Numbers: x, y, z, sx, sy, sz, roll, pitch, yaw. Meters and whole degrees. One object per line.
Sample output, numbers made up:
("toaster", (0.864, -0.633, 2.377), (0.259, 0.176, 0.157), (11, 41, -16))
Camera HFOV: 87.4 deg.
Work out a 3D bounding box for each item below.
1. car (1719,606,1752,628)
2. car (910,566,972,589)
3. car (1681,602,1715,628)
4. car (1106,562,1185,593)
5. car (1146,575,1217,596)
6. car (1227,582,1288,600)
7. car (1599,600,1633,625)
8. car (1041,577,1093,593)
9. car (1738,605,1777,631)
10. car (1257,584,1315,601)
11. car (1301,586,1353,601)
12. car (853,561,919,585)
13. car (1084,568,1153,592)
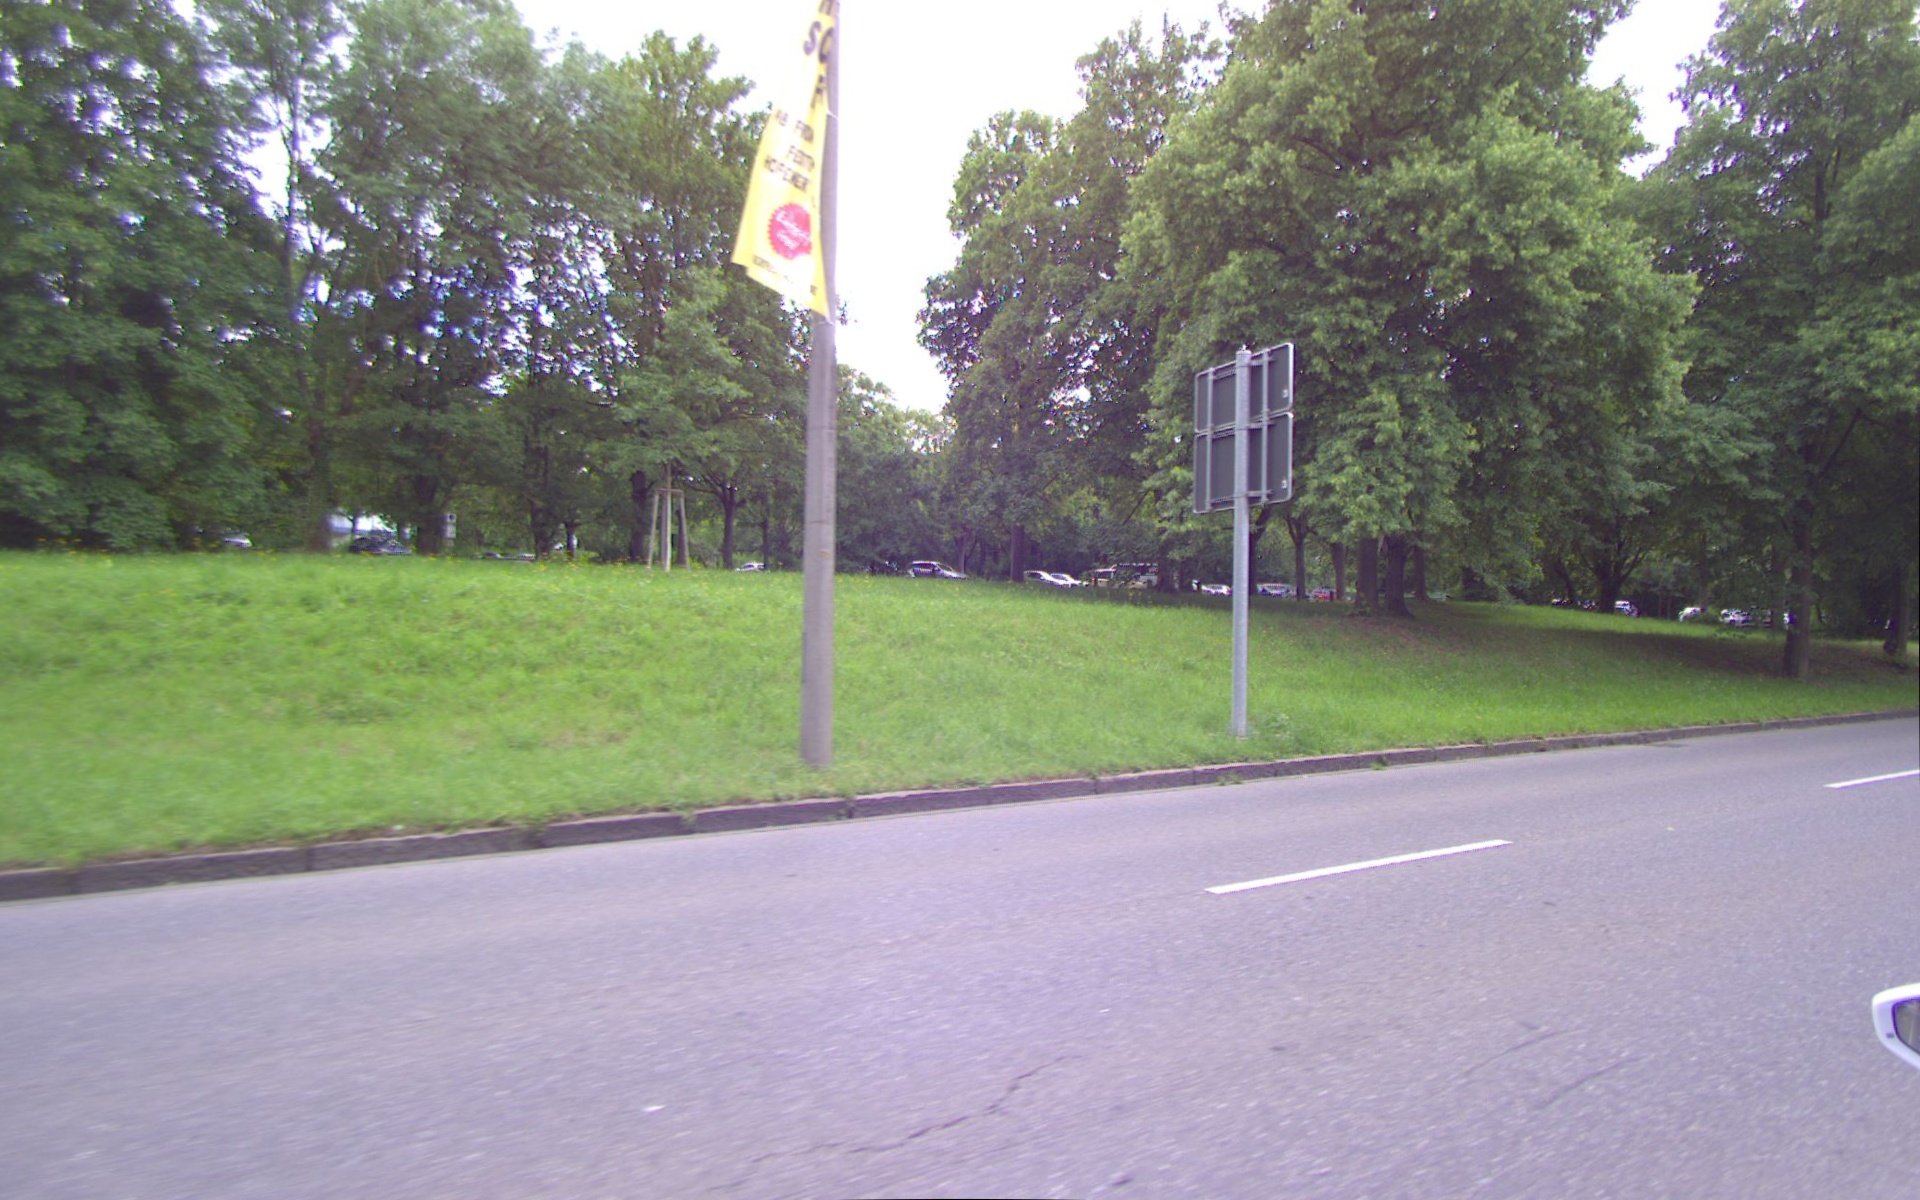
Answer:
("car", (54.346, 1.189, 70.435), (1.624, 1.506, 3.986), (2, 0, 36))
("car", (-1.105, -1.315, 59.248), (3.448, 1.250, 1.396), (2, 0, 32))
("car", (46.767, 0.956, 63.680), (1.624, 1.506, 3.986), (2, 0, 36))
("car", (10.493, -1.284, 56.973), (4.048, 1.706, 1.748), (2, 0, 36))
("car", (13.921, -0.932, 63.055), (3.919, 1.226, 1.897), (2, 0, 35))
("car", (21.976, -0.676, 74.326), (3.919, 1.226, 1.897), (2, 0, 35))
("car", (42.439, 0.835, 64.980), (1.624, 1.506, 3.986), (2, 0, 36))
("car", (8.987, -1.263, 84.459), (3.919, 1.226, 1.897), (2, 0, 35))
("car", (49.071, 1.110, 61.854), (1.624, 1.506, 3.986), (2, 0, 36))
("car", (25.402, -0.569, 78.406), (3.919, 1.226, 1.897), (2, 0, 35))
("car", (32.398, -0.583, 88.712), (3.919, 1.226, 1.897), (2, 0, 35))
("car", (-4.108, -1.477, 55.624), (3.448, 1.250, 1.396), (2, 0, 32))
("car", (8.621, -1.102, 54.773), (3.448, 1.226, 1.396), (2, 0, 32))
